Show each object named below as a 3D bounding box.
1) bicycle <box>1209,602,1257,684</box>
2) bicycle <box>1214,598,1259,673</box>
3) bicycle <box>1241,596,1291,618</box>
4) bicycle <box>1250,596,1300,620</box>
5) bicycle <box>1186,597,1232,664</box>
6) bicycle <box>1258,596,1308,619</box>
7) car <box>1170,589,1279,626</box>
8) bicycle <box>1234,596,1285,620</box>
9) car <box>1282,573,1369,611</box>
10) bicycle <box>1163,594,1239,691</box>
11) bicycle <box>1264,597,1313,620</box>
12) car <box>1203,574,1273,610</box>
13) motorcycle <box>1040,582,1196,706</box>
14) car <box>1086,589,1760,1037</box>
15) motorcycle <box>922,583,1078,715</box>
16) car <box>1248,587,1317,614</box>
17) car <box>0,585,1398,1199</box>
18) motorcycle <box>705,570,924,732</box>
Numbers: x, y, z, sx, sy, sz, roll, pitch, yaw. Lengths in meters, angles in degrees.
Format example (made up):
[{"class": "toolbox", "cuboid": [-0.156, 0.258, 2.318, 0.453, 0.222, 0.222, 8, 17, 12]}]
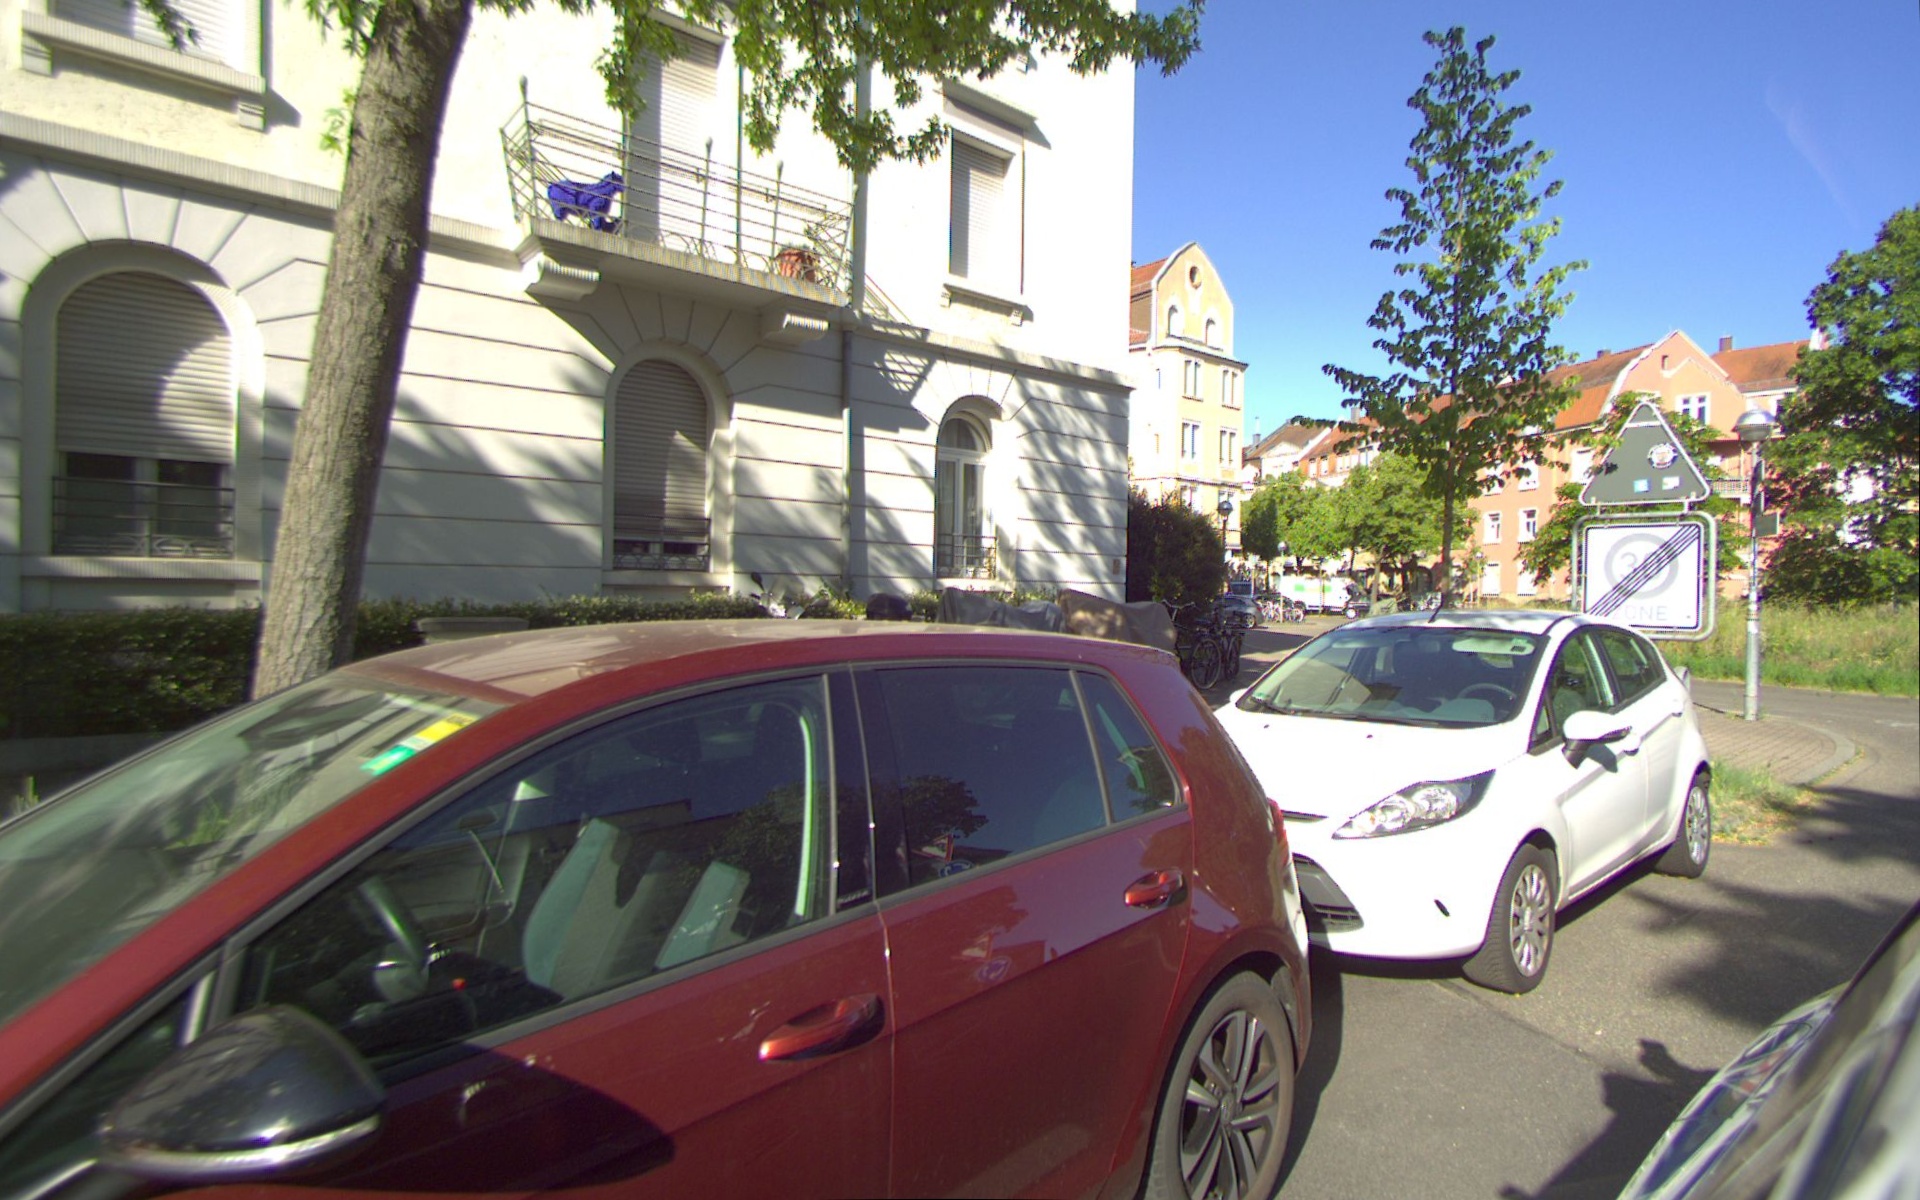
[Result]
[{"class": "bicycle", "cuboid": [4.118, 0.617, 15.204, 0.348, 1.117, 1.557, 1, 2, 28]}, {"class": "bicycle", "cuboid": [4.620, 0.564, 16.994, 0.437, 1.163, 1.776, 1, 1, 6]}, {"class": "bicycle", "cuboid": [14.932, 0.340, 49.494, 0.642, 1.028, 2.364, 2, 0, -39]}, {"class": "bicycle", "cuboid": [15.508, 0.389, 49.932, 0.642, 1.066, 2.364, 1, 1, -39]}, {"class": "bicycle", "cuboid": [4.603, 0.533, 18.776, 0.359, 1.163, 1.639, 1, 1, -2]}, {"class": "bicycle", "cuboid": [16.057, 0.387, 50.353, 0.642, 1.066, 2.364, 1, 1, -39]}, {"class": "car", "cuboid": [11.595, 0.342, 44.575, 4.325, 1.426, 1.847, 2, -2, 2]}, {"class": "bicycle", "cuboid": [14.467, 0.389, 48.955, 0.642, 1.066, 2.364, 1, 1, -39]}, {"class": "car", "cuboid": [24.226, -0.552, 67.107, 5.147, 2.391, 2.017, 2, 1, 29]}, {"class": "bicycle", "cuboid": [3.310, 0.548, 13.816, 0.325, 1.253, 1.481, 2, 2, 42]}, {"class": "bicycle", "cuboid": [16.513, 0.403, 50.941, 0.642, 1.066, 2.364, 1, 1, -39]}, {"class": "car", "cuboid": [17.300, -0.524, 63.348, 2.207, 2.146, 4.811, 1, 1, -12]}, {"class": "motorcycle", "cuboid": [1.911, 0.476, 12.107, 0.971, 1.345, 1.823, 1, 1, 44]}, {"class": "car", "cuboid": [2.636, 0.692, 5.246, 4.063, 1.419, 1.655, 0, 1, -41]}, {"class": "motorcycle", "cuboid": [0.466, 0.484, 10.971, 0.656, 1.295, 1.772, 4, 2, 43]}, {"class": "car", "cuboid": [18.490, 0.022, 58.219, 1.958, 1.461, 4.008, 1, 1, -13]}, {"class": "car", "cuboid": [-0.836, 0.706, 1.988, 4.280, 1.427, 1.612, 0, 1, -44]}, {"class": "motorcycle", "cuboid": [-1.313, 0.430, 9.485, 2.052, 1.378, 0.540, 0, 1, -41]}]
